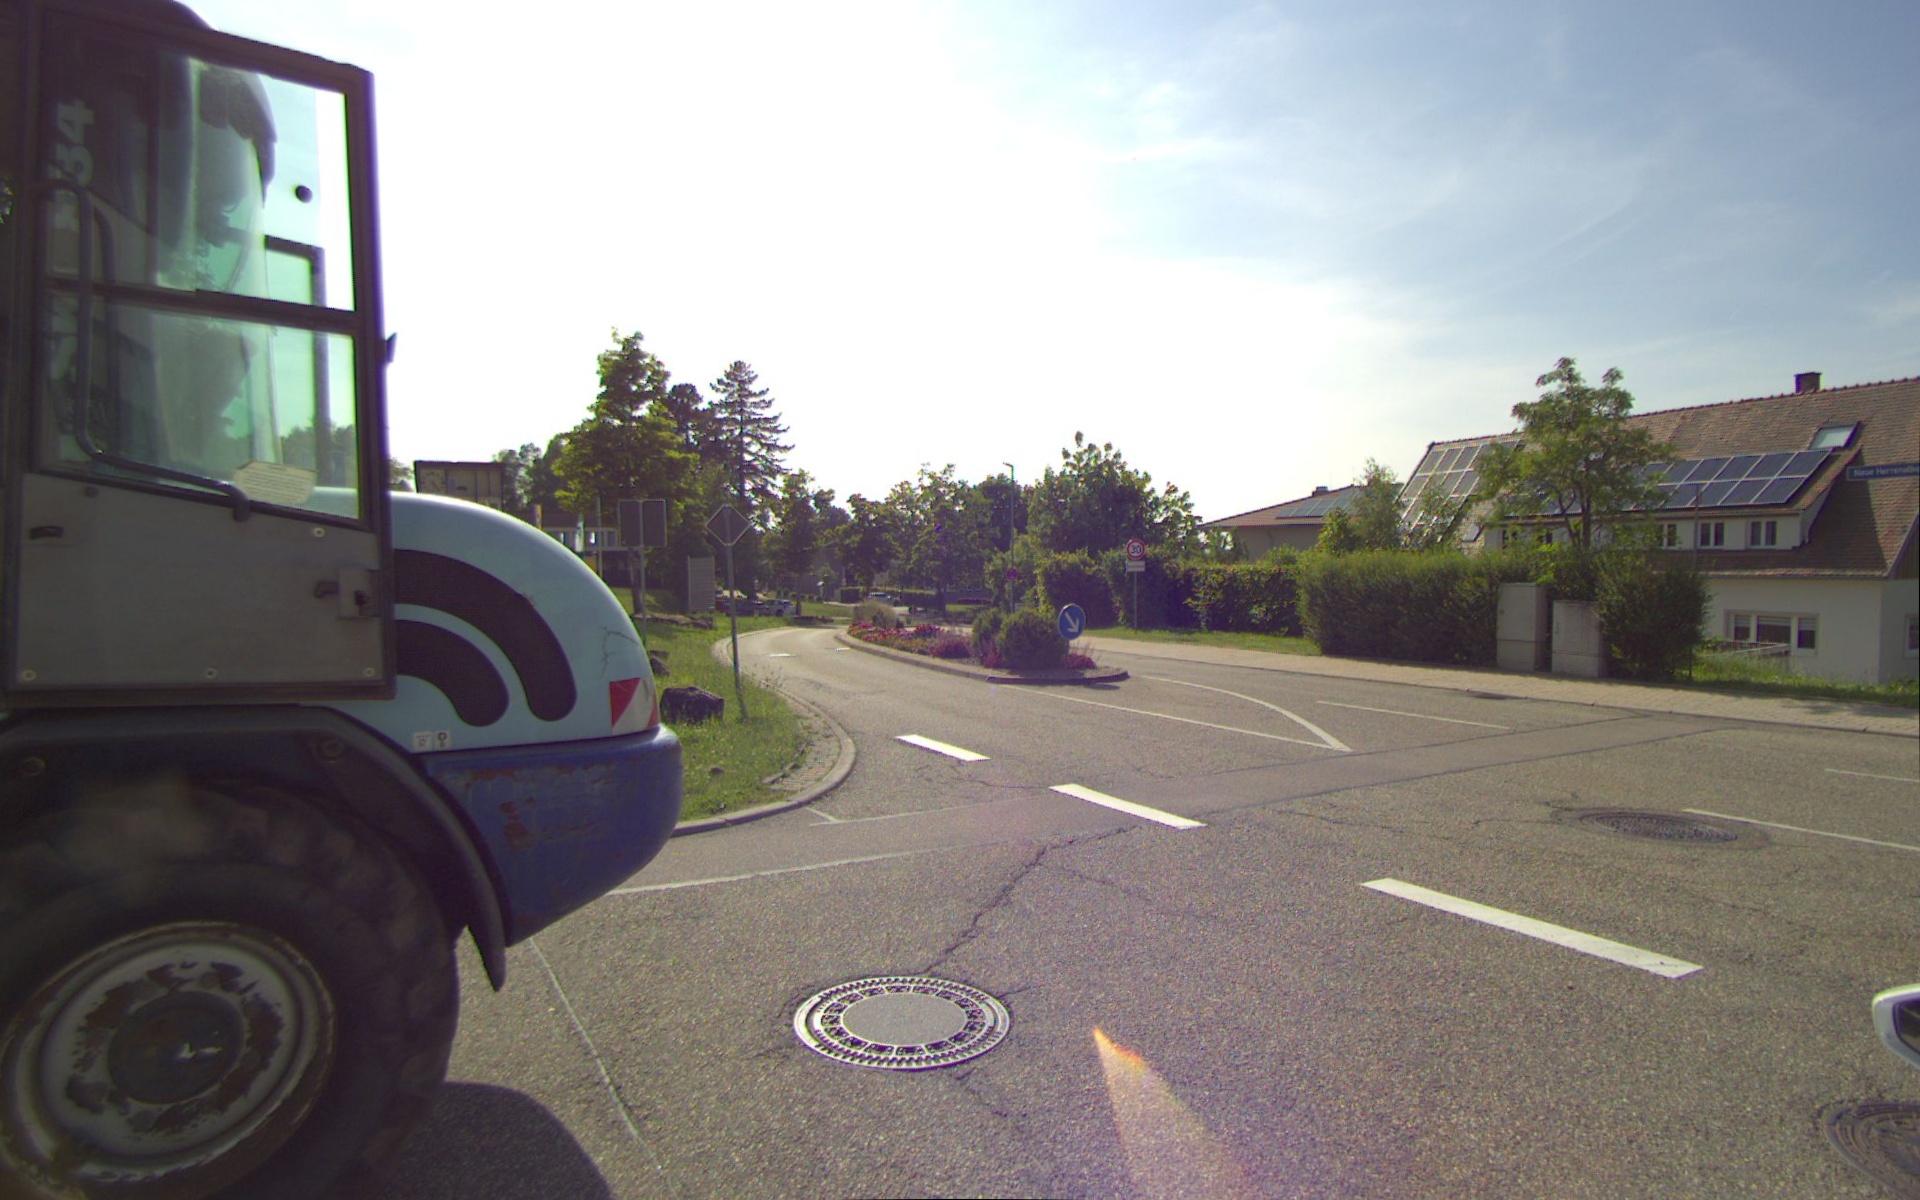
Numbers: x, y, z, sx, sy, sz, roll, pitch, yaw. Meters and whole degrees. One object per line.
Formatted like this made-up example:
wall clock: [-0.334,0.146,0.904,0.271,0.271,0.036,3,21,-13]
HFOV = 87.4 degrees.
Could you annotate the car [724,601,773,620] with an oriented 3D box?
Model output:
car: [-17.693,0.848,84.092,3.643,1.452,1.775,2,0,25]

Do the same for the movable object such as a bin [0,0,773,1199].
movable object such as a bin: [-3.112,-0.046,1.852,5.060,2.806,1.978,2,0,-39]

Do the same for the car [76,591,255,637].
car: [-25.751,0.436,32.709,4.166,1.417,1.819,1,0,-14]

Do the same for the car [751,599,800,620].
car: [-16.182,0.816,87.938,3.866,1.630,1.775,2,0,25]

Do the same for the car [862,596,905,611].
car: [-9.145,0.395,120.037,4.678,1.555,1.982,-1,6,-33]

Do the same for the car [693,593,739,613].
car: [-19.726,0.213,81.328,3.146,1.490,1.775,2,0,23]
